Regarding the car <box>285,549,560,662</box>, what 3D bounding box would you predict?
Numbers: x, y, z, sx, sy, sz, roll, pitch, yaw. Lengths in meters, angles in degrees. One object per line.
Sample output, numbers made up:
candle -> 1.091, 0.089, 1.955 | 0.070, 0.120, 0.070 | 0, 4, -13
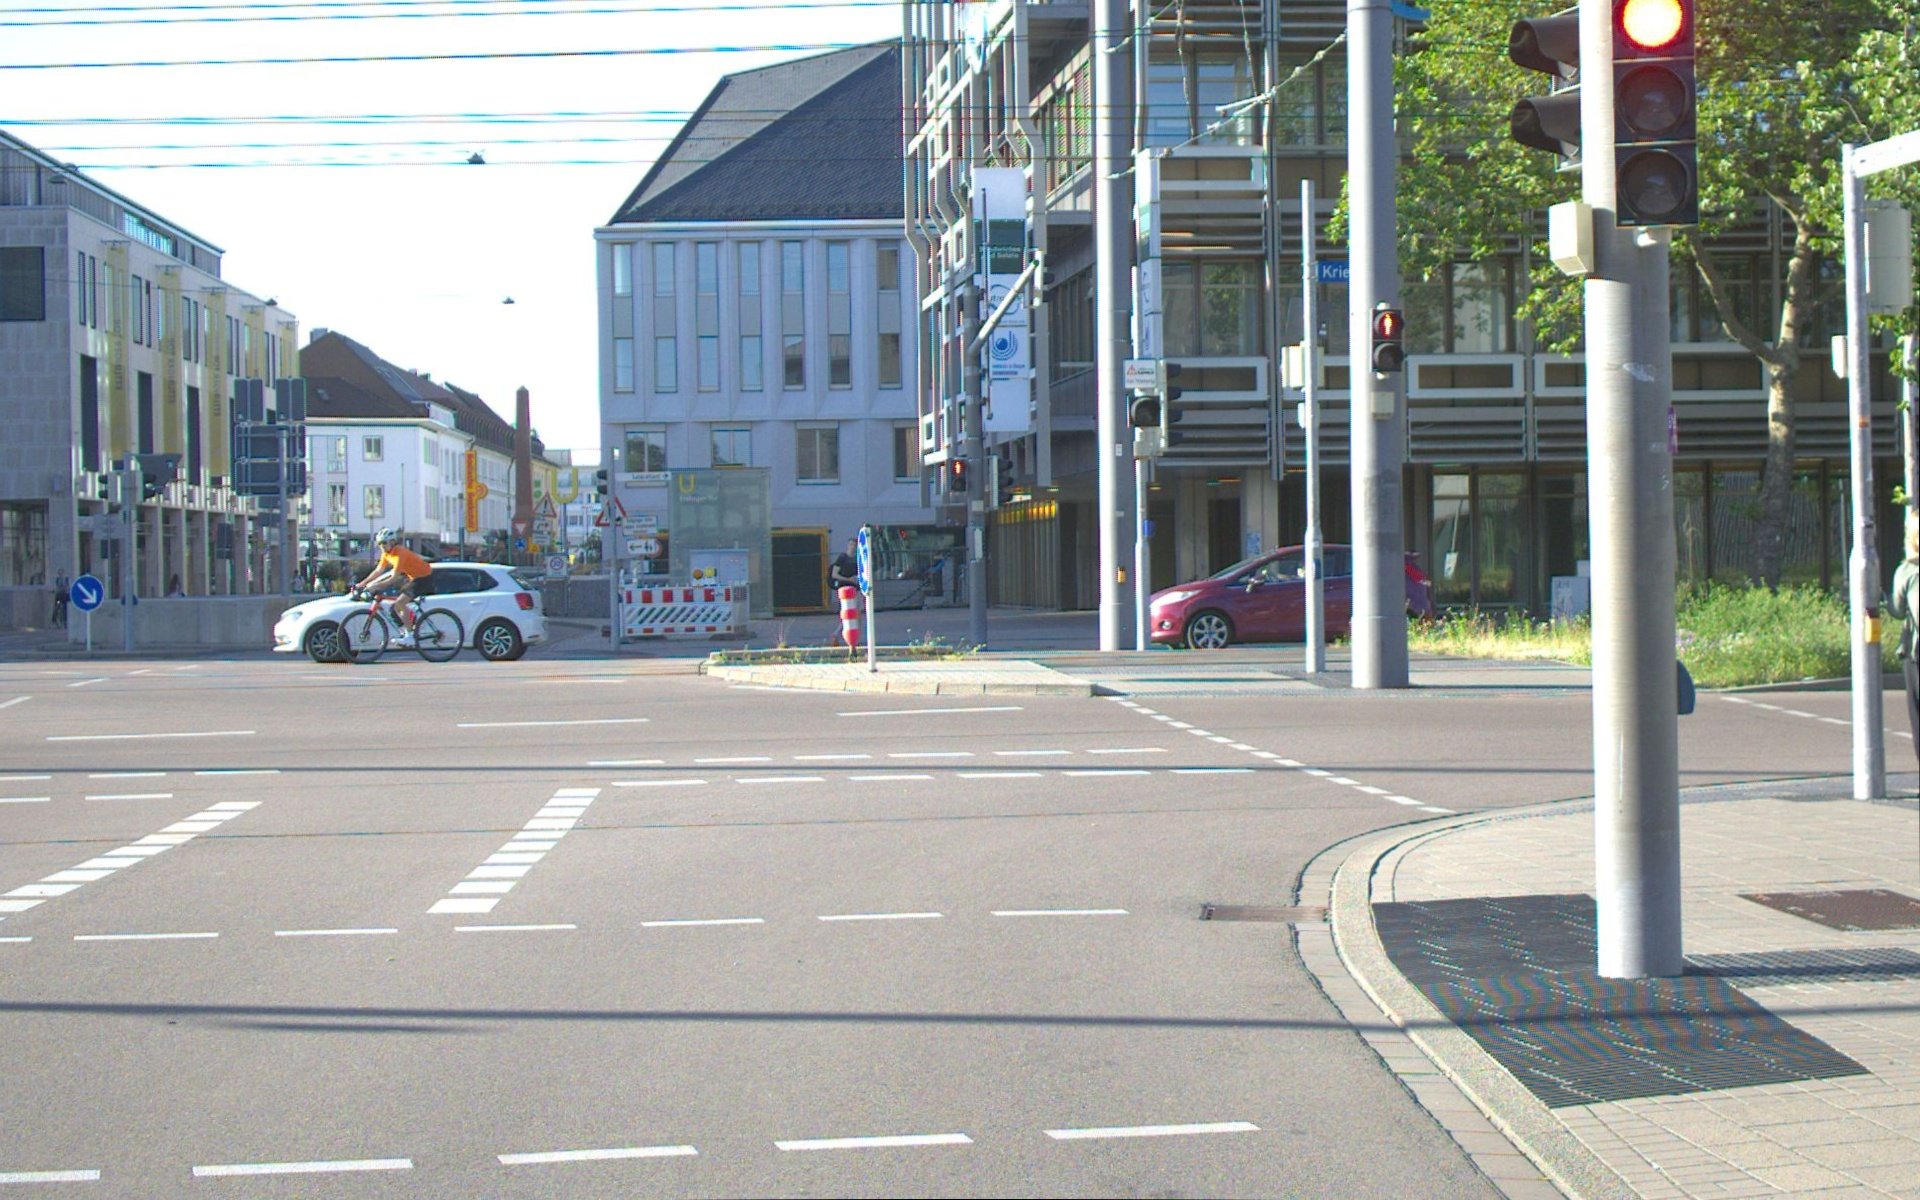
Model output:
car -> -7.847, 0.077, 50.438 | 3.897, 1.579, 1.660 | 1, 0, -7

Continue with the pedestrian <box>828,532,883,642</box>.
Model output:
pedestrian -> -1.796, -0.223, 59.196 | 0.643, 1.883, 0.789 | 1, 0, 26

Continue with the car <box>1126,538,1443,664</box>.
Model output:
car -> 4.260, -0.006, 45.374 | 3.884, 1.579, 1.660 | -1, 1, -7

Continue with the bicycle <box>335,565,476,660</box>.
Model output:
bicycle -> -6.848, 0.154, 42.457 | 1.644, 1.150, 0.497 | 1, 0, -17

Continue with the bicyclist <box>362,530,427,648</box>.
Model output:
bicyclist -> -6.971, -0.136, 42.405 | 0.711, 1.432, 0.497 | 1, 0, -17

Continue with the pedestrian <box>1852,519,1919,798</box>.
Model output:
pedestrian -> 5.337, 0.315, 18.678 | 0.788, 1.487, 0.644 | 1, 0, -1
